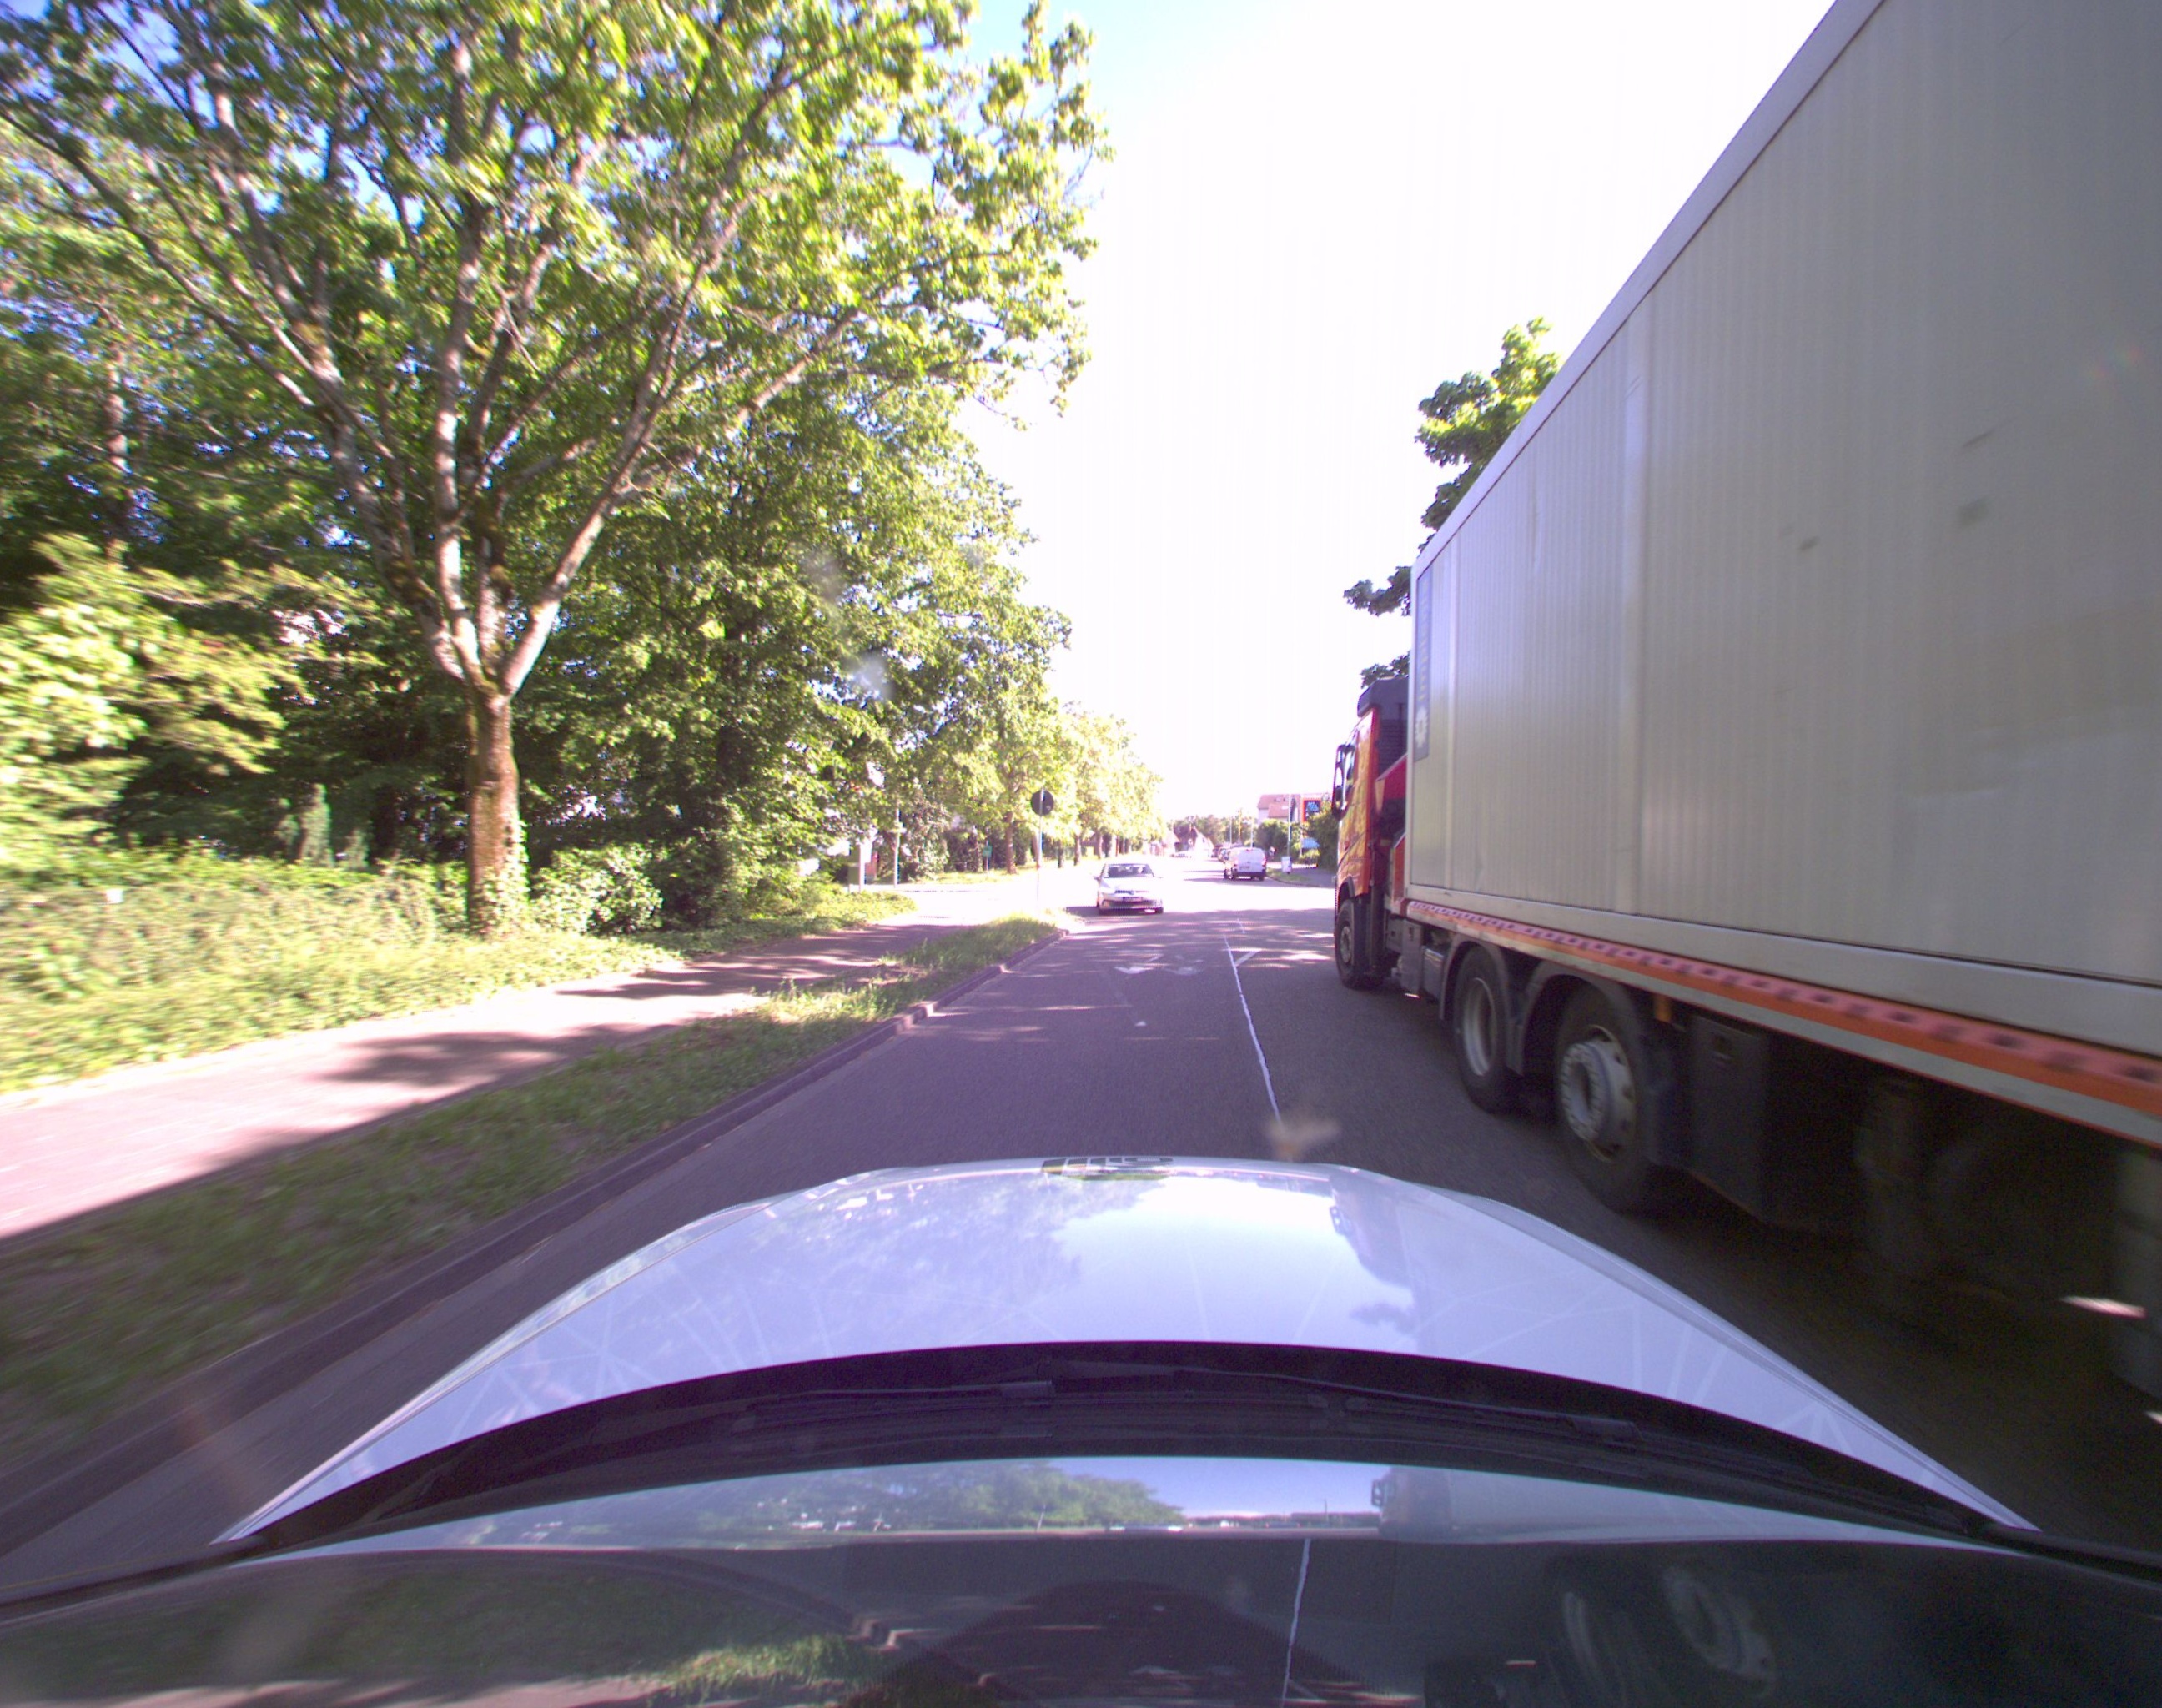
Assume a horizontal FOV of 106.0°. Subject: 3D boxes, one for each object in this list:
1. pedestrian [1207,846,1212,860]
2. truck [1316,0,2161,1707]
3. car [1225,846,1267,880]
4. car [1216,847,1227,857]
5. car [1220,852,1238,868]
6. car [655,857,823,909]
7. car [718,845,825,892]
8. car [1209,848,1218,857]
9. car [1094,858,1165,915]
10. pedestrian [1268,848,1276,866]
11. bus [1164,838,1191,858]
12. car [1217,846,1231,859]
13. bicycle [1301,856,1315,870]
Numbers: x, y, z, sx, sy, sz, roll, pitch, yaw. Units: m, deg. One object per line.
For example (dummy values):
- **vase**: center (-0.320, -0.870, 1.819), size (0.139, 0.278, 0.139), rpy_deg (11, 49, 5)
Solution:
- **pedestrian**: center (20.116, -0.183, 127.314), size (0.747, 2.113, 0.801), rpy_deg (2, 0, 11)
- **truck**: center (3.891, -0.528, 5.894), size (2.757, 3.995, 10.373), rpy_deg (2, 0, 8)
- **car**: center (9.366, 0.483, 46.525), size (1.937, 1.843, 4.006), rpy_deg (0, 0, 5)
- **car**: center (24.538, -0.315, 142.400), size (1.771, 1.808, 4.008), rpy_deg (-1, 0, 7)
- **car**: center (15.852, 0.675, 87.324), size (1.771, 1.652, 4.008), rpy_deg (-1, 0, 7)
- **car**: center (-9.596, 0.802, 22.990), size (4.084, 1.394, 1.682), rpy_deg (0, 0, 9)
- **car**: center (-13.758, 0.633, 36.303), size (4.084, 1.964, 1.682), rpy_deg (-1, -1, 9)
- **car**: center (27.353, -0.284, 168.604), size (1.771, 1.808, 4.008), rpy_deg (-1, 0, 7)
- **car**: center (1.298, 0.859, 23.169), size (1.799, 1.420, 3.959), rpy_deg (-1, 0, 0)
- **pedestrian**: center (22.269, 0.340, 94.964), size (0.639, 2.013, 0.701), rpy_deg (2, 0, 1)
- **bus**: center (16.947, -1.018, 142.306), size (4.039, 3.349, 9.829), rpy_deg (-1, 0, 11)
- **car**: center (20.248, -0.149, 115.629), size (1.771, 1.808, 4.008), rpy_deg (-1, 0, 7)
- **bicycle**: center (18.127, 0.732, 64.978), size (0.631, 1.027, 2.177), rpy_deg (2, 0, 26)
